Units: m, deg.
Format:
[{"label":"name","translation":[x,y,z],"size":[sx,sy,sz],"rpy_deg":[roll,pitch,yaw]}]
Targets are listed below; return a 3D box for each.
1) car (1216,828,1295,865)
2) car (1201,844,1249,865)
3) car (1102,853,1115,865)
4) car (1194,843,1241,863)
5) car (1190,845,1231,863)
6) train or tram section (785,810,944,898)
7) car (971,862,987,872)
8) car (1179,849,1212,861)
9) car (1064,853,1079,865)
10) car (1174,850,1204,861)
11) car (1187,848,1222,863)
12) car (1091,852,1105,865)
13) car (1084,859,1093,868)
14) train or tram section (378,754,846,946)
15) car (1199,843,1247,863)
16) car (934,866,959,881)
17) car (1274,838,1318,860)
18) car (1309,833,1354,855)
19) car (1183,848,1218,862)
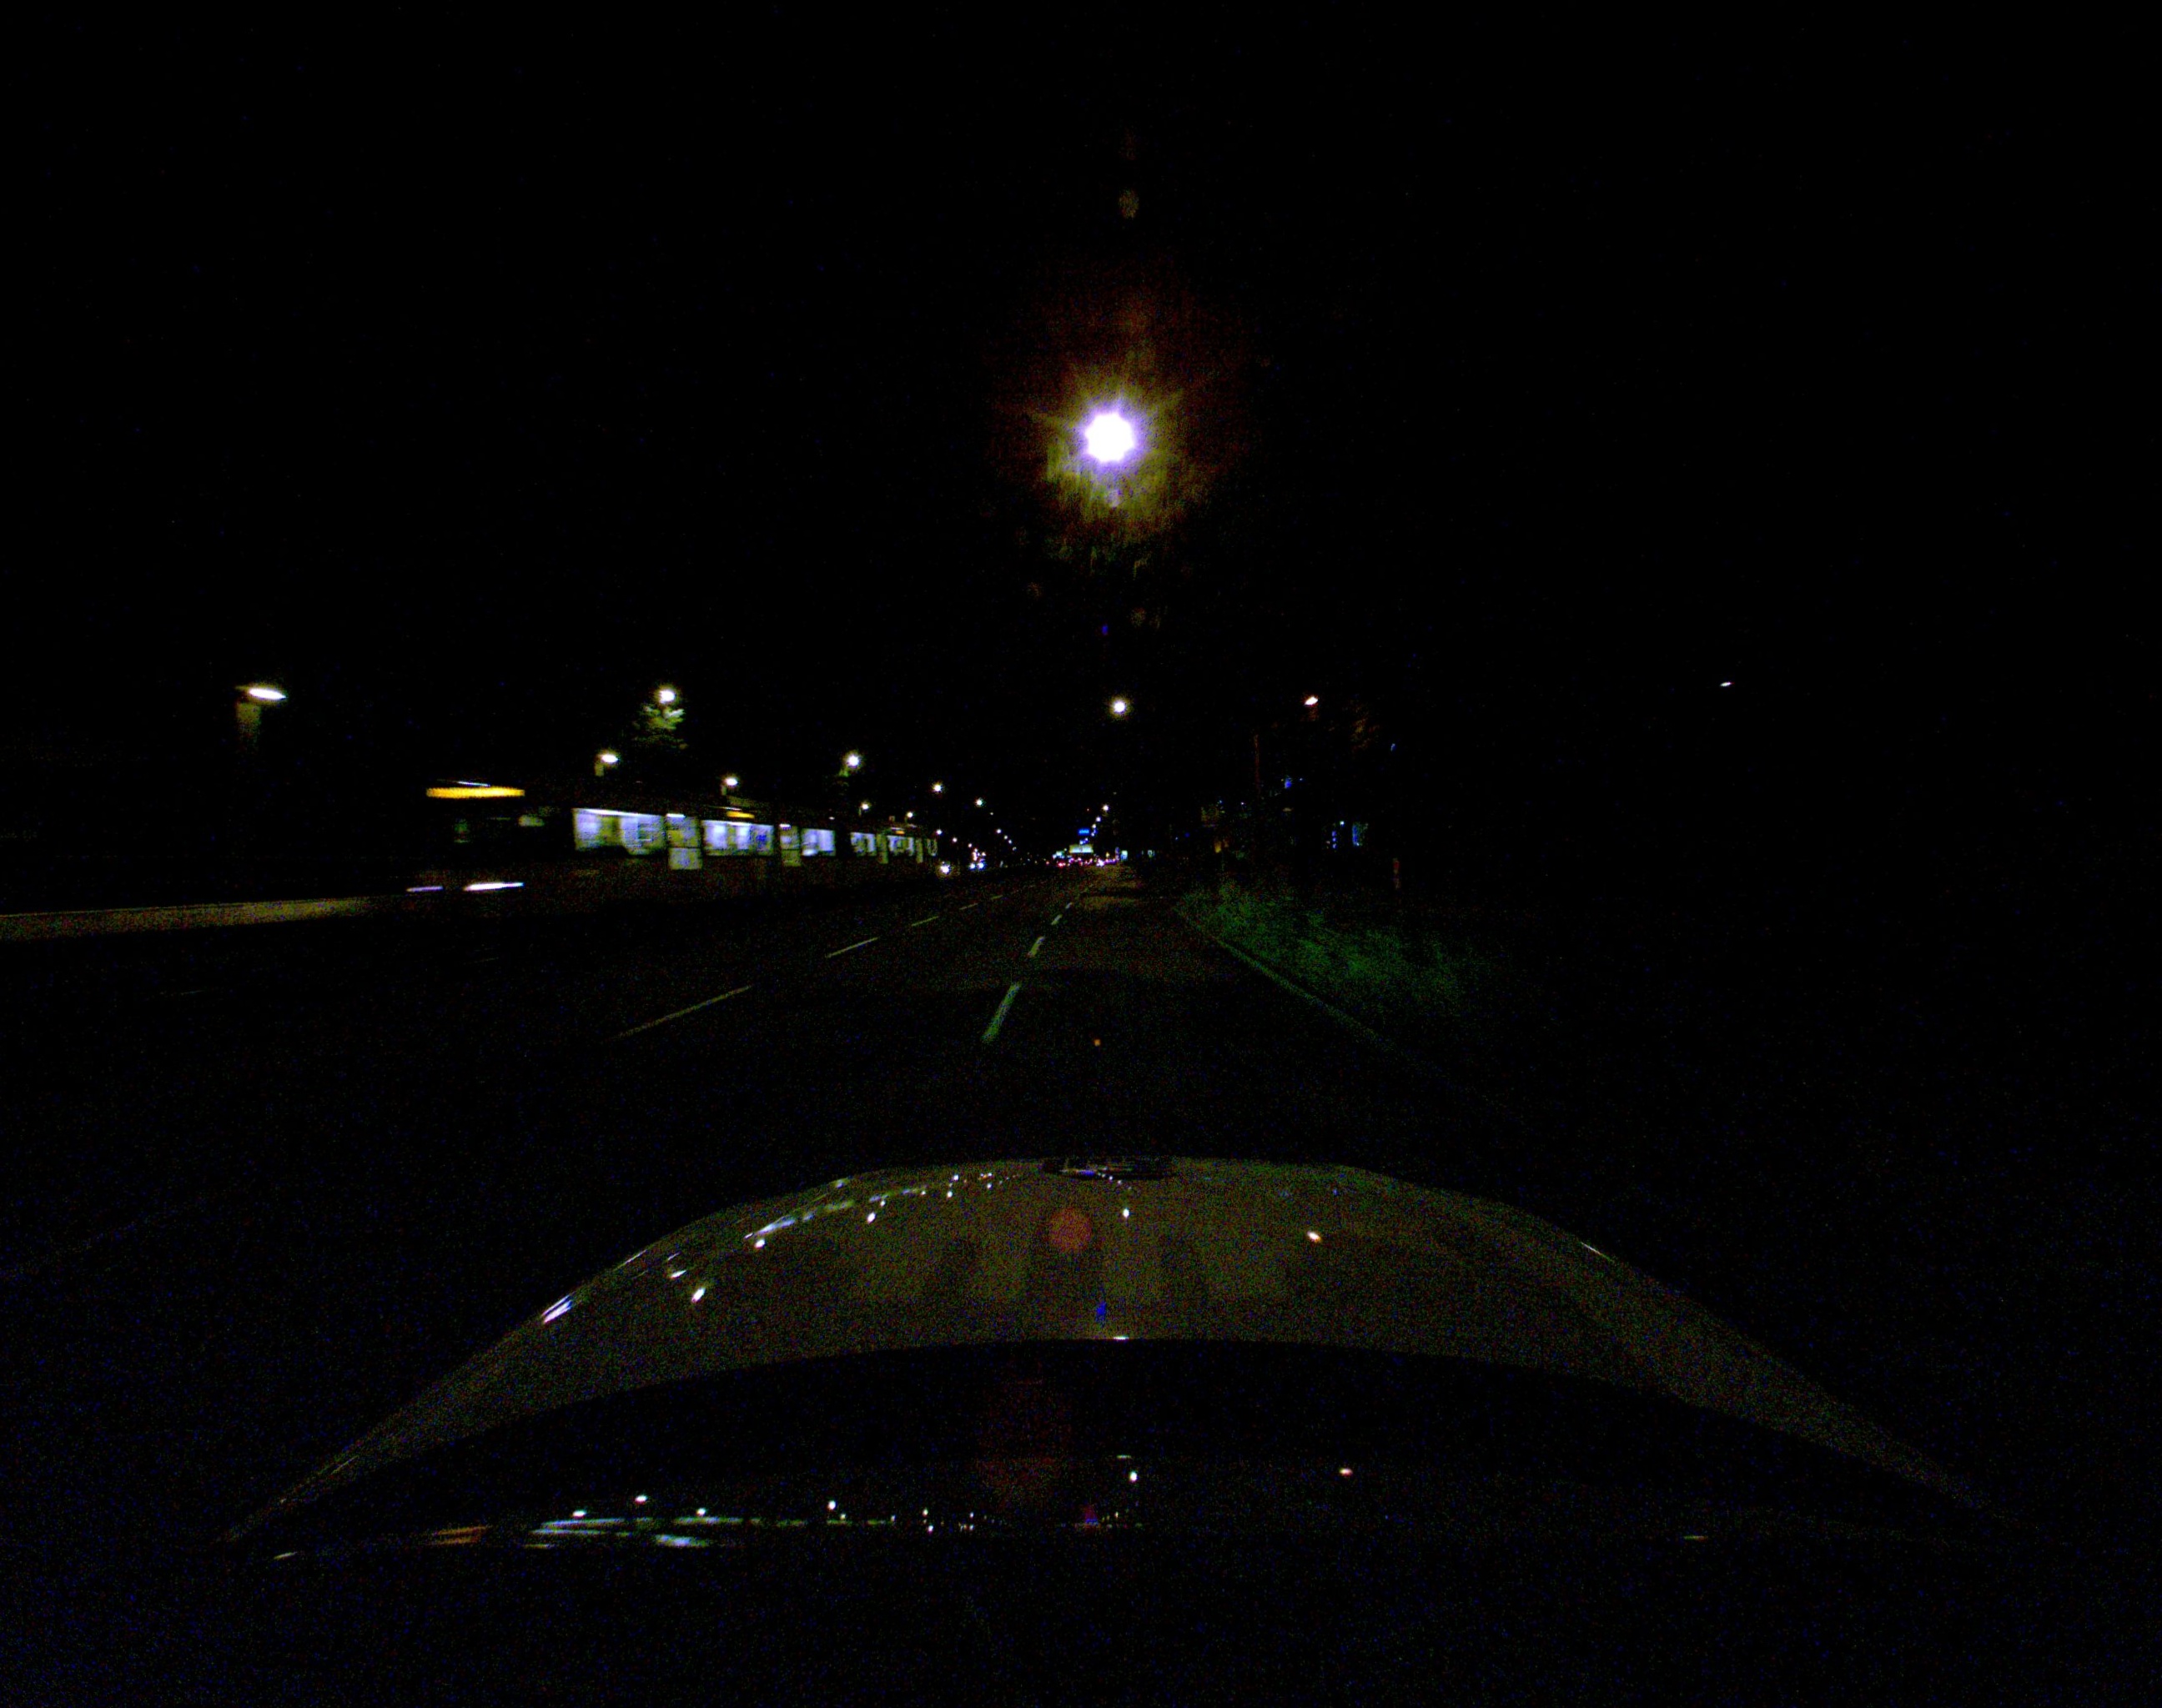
[{"label":"car","translation":[15.049,-0.622,70.285],"size":[6.029,2.529,2.272],"rpy_deg":[-7,1,-15]},{"label":"car","translation":[14.188,0.057,80.217],"size":[4.201,1.663,1.955],"rpy_deg":[-4,0,-9]},{"label":"car","translation":[5.109,0.931,151.790],"size":[2.418,2.113,4.827],"rpy_deg":[-1,-1,1]},{"label":"car","translation":[14.729,-0.093,88.039],"size":[4.460,1.687,1.994],"rpy_deg":[-6,0,-9]},{"label":"car","translation":[14.493,0.036,91.099],"size":[4.080,1.568,1.849],"rpy_deg":[-6,0,-9]},{"label":"train or tram section","translation":[-11.140,0.018,45.248],"size":[2.747,3.827,18.686],"rpy_deg":[-1,0,3]},{"label":"car","translation":[-15.610,1.974,124.959],"size":[1.653,1.516,3.914],"rpy_deg":[-1,-1,4]},{"label":"car","translation":[15.505,0.190,110.250],"size":[4.002,1.391,1.814],"rpy_deg":[-4,1,-21]},{"label":"car","translation":[-1.524,0.858,137.108],"size":[2.254,2.014,4.827],"rpy_deg":[-1,-1,2]},{"label":"car","translation":[15.688,0.216,118.390],"size":[3.995,1.424,1.899],"rpy_deg":[-2,0,-16]},{"label":"car","translation":[15.138,0.167,99.578],"size":[3.805,1.453,1.710],"rpy_deg":[-5,0,-12]},{"label":"car","translation":[3.004,0.765,140.038],"size":[2.347,2.129,4.827],"rpy_deg":[-1,-1,2]},{"label":"car","translation":[1.655,2.177,182.606],"size":[1.880,1.860,4.001],"rpy_deg":[-1,-1,2]},{"label":"train or tram section","translation":[-12.334,-0.045,26.226],"size":[2.726,3.846,19.382],"rpy_deg":[-1,0,4]},{"label":"car","translation":[14.861,-0.102,85.236],"size":[4.459,1.810,1.994],"rpy_deg":[-4,0,-9]},{"label":"car","translation":[-14.307,2.114,86.717],"size":[1.778,1.497,4.175],"rpy_deg":[-1,-2,1]},{"label":"car","translation":[19.184,-0.410,72.785],"size":[1.811,1.712,3.940],"rpy_deg":[-2,-1,-20]},{"label":"car","translation":[22.637,-0.880,73.741],"size":[1.800,1.577,3.940],"rpy_deg":[-7,1,-20]},{"label":"car","translation":[15.371,0.176,104.818],"size":[4.030,1.373,1.817],"rpy_deg":[-5,0,-15]}]
